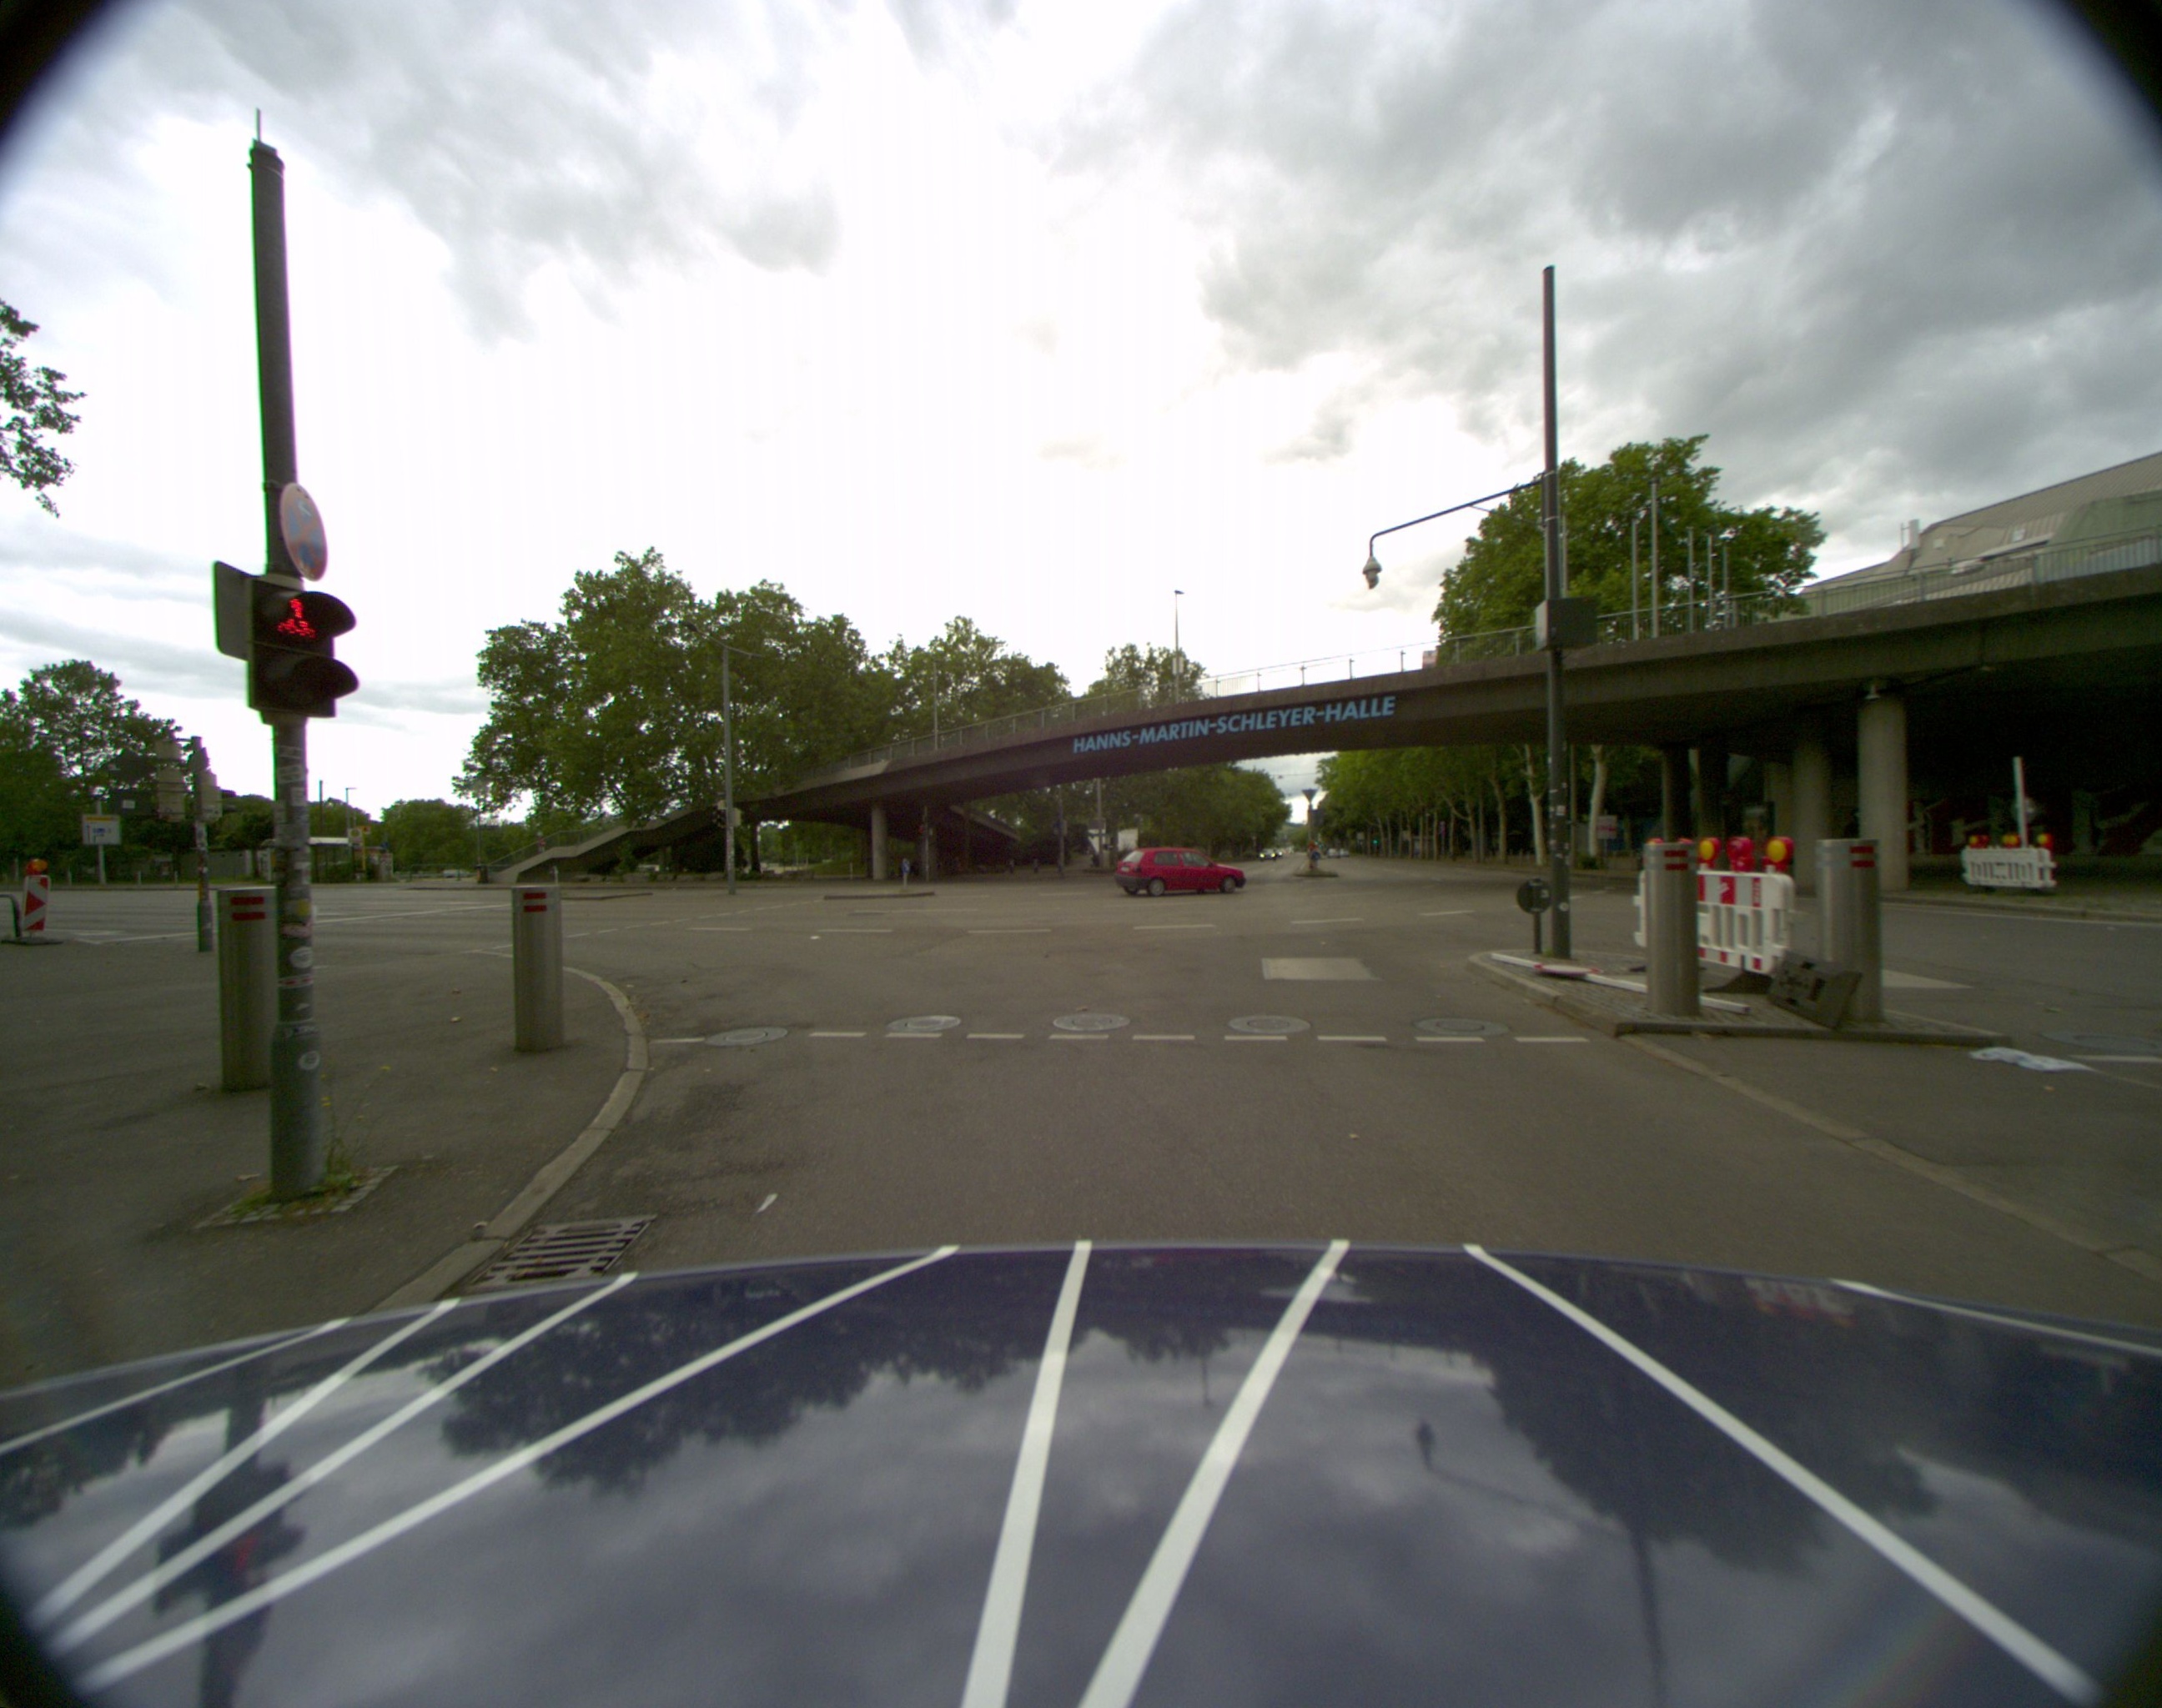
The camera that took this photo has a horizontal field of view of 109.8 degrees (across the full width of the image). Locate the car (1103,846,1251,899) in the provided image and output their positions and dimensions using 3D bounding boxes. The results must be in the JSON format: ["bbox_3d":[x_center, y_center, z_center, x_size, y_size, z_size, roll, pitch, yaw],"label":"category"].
[{"bbox_3d":[2.914,0.509,23.104,4.080,1.443,1.831,-1,1,-21],"label":"car"}]

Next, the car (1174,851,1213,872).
[{"bbox_3d":[8.277,0.514,55.621,1.759,1.314,3.722,0,2,25],"label":"car"}]

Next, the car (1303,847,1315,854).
[{"bbox_3d":[53.135,-0.885,177.162,1.997,1.650,4.002,-1,1,9],"label":"car"}]

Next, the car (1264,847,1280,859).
[{"bbox_3d":[24.514,-0.175,97.340,1.760,1.356,3.720,0,2,17],"label":"car"}]

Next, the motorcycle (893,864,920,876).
[{"bbox_3d":[-12.057,1.103,52.566,1.733,0.846,0.651,-1,1,21],"label":"motorcycle"}]

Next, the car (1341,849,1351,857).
[{"bbox_3d":[48.006,-0.234,137.648,1.612,1.305,3.399,-1,1,16],"label":"car"}]

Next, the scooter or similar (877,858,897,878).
[{"bbox_3d":[-12.639,0.911,49.462,1.225,1.311,0.418,1,0,15],"label":"scooter or similar"}]

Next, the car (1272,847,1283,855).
[{"bbox_3d":[38.382,-0.636,148.160,1.759,1.356,3.720,0,2,19],"label":"car"}]

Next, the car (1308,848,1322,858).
[{"bbox_3d":[34.958,-0.166,113.453,1.996,1.410,4.004,-1,1,16],"label":"car"}]
